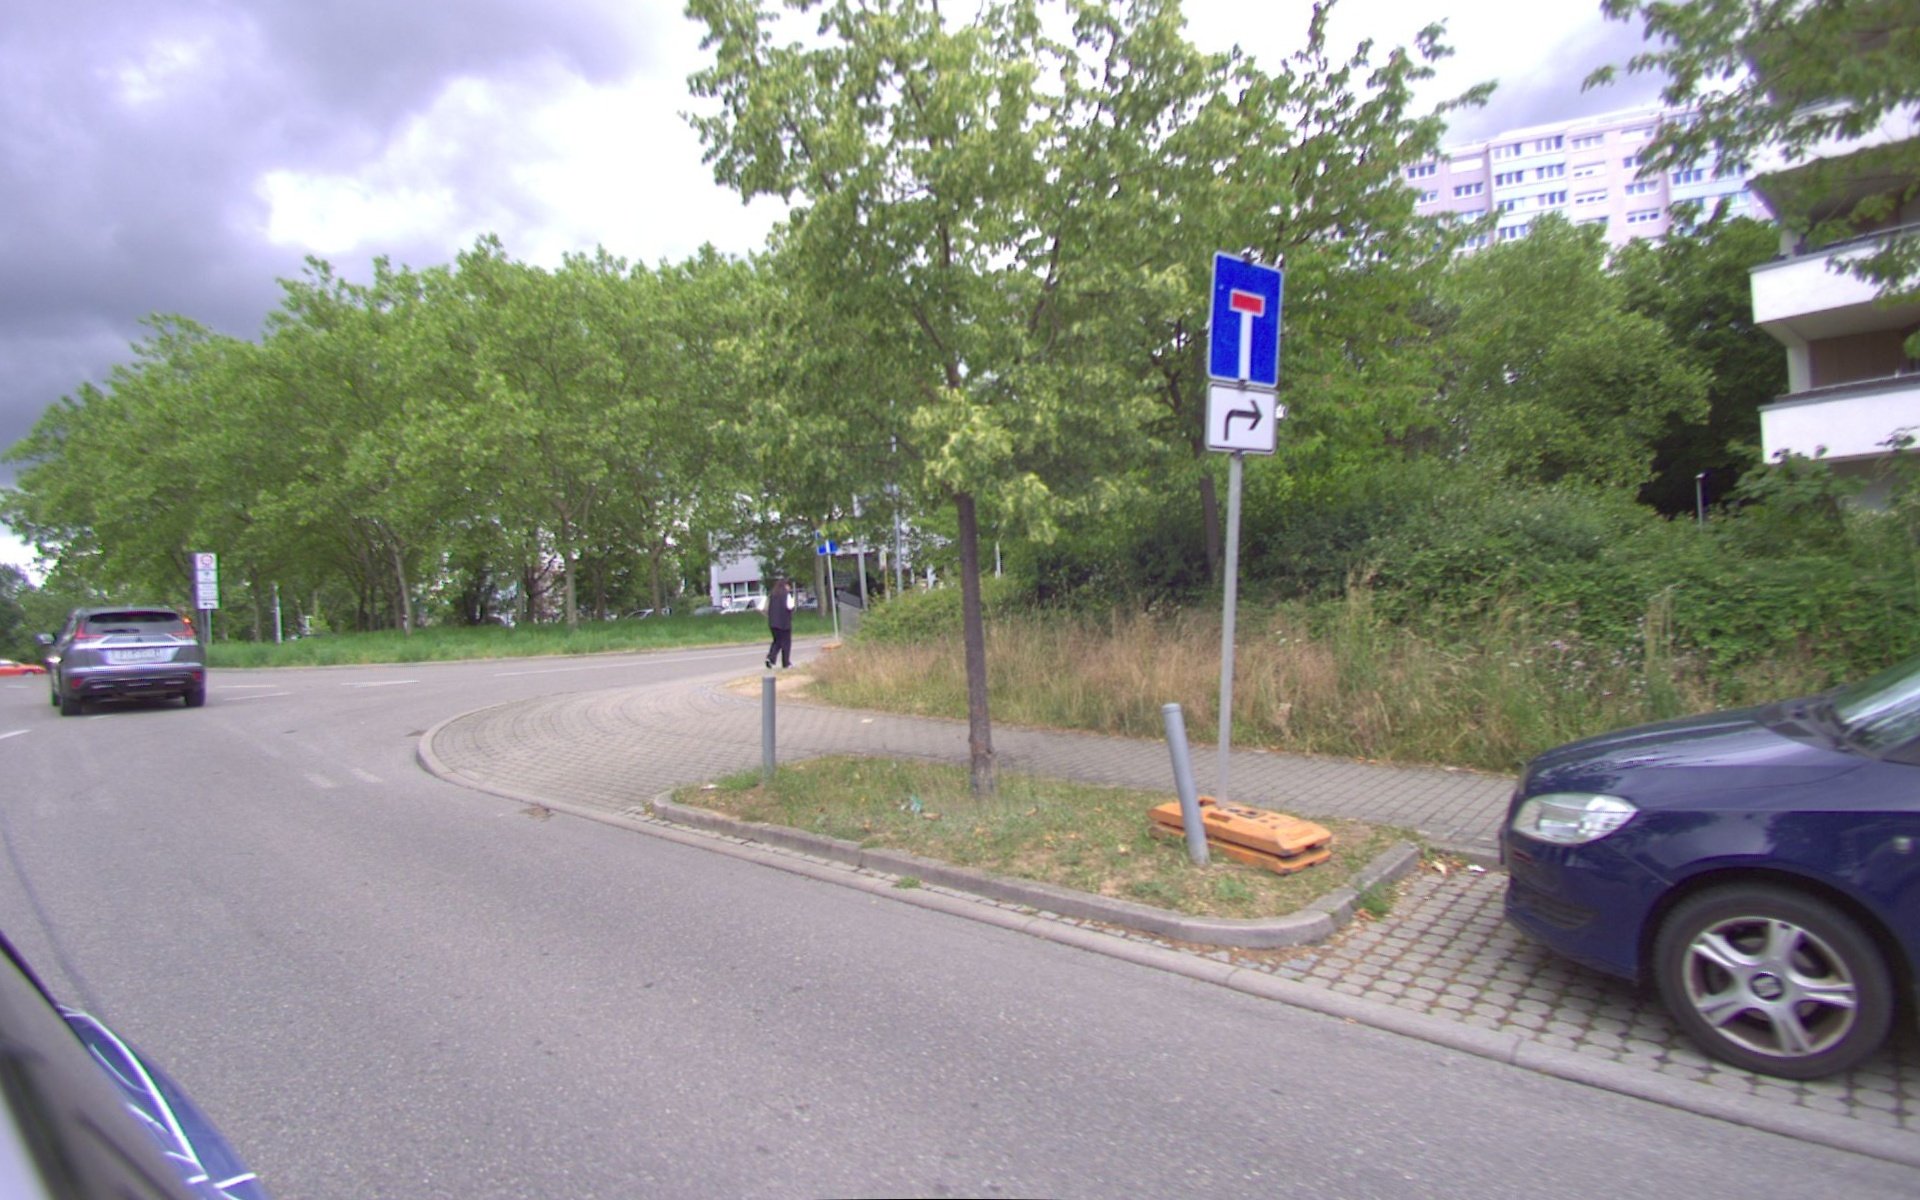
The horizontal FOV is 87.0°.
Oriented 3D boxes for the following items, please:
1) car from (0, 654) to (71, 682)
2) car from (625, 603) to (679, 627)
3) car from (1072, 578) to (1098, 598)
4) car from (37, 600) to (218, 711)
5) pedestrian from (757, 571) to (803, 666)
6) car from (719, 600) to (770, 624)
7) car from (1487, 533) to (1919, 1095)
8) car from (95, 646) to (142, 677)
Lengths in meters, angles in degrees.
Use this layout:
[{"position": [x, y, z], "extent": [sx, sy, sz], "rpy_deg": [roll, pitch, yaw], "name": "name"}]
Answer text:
[{"position": [-60.660, 4.437, 66.253], "extent": [3.604, 1.541, 1.630], "rpy_deg": [-2, 0, -45], "name": "car"}, {"position": [-21.406, 1.029, 70.552], "extent": [1.640, 1.475, 3.978], "rpy_deg": [-2, 0, 17], "name": "car"}, {"position": [12.021, -1.155, 96.876], "extent": [1.766, 1.785, 3.978], "rpy_deg": [-2, 0, 17], "name": "car"}, {"position": [-13.761, 0.880, 16.640], "extent": [4.169, 1.595, 1.875], "rpy_deg": [-3, -3, 45], "name": "car"}, {"position": [-3.221, 0.327, 18.131], "extent": [0.708, 1.623, 0.635], "rpy_deg": [-4, -2, -10], "name": "pedestrian"}, {"position": [-14.464, 0.767, 68.051], "extent": [1.640, 1.475, 3.978], "rpy_deg": [-2, 0, 17], "name": "car"}, {"position": [3.838, 0.523, 2.725], "extent": [3.953, 1.498, 1.672], "rpy_deg": [-2, 2, 43], "name": "car"}, {"position": [-46.185, 3.339, 55.502], "extent": [1.733, 1.527, 4.004], "rpy_deg": [-2, 0, -43], "name": "car"}]
